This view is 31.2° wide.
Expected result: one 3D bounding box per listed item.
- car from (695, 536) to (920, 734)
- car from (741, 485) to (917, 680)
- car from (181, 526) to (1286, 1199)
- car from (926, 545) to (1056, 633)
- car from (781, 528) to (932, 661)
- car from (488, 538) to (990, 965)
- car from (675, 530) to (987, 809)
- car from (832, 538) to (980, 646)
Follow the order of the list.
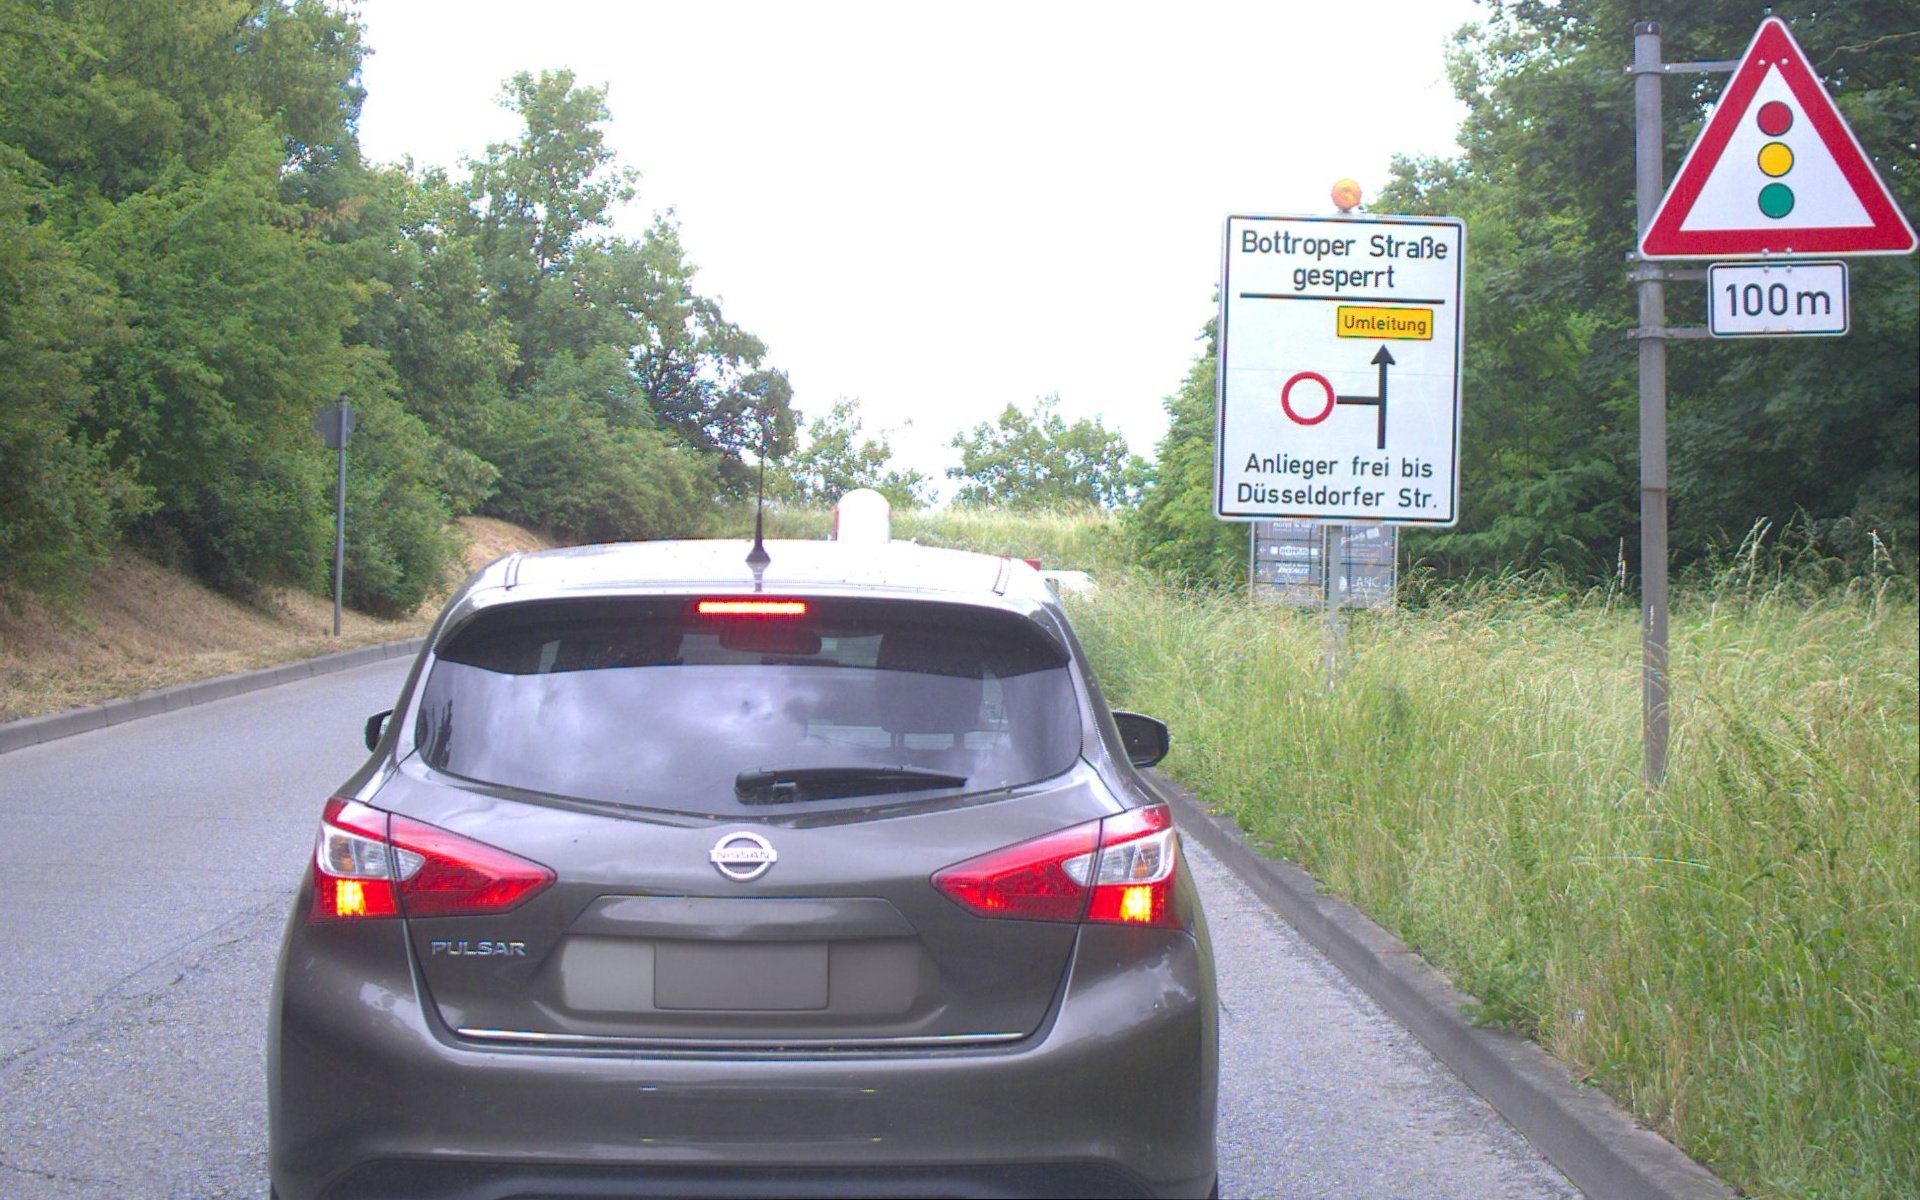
[{"bbox_3d":[-1.214,0.241,28.740,1.736,1.551,3.544,0,1,0],"label":"car"},{"bbox_3d":[-1.329,-0.207,35.810,1.736,1.928,3.544,0,1,-1],"label":"car"},{"bbox_3d":[-0.445,0.629,7.479,1.830,1.551,3.500,0,1,-2],"label":"car"},{"bbox_3d":[0.591,-0.222,61.661,1.736,1.521,3.640,0,1,10],"label":"car"},{"bbox_3d":[-1.257,-0.095,41.500,1.736,1.521,3.544,0,1,-2],"label":"car"},{"bbox_3d":[-0.818,0.522,14.390,1.830,1.551,3.625,0,1,0],"label":"car"},{"bbox_3d":[-0.731,0.358,20.974,1.736,1.551,3.544,0,1,0],"label":"car"},{"bbox_3d":[-0.753,-0.145,50.399,1.736,1.521,3.641,0,1,6],"label":"car"}]
